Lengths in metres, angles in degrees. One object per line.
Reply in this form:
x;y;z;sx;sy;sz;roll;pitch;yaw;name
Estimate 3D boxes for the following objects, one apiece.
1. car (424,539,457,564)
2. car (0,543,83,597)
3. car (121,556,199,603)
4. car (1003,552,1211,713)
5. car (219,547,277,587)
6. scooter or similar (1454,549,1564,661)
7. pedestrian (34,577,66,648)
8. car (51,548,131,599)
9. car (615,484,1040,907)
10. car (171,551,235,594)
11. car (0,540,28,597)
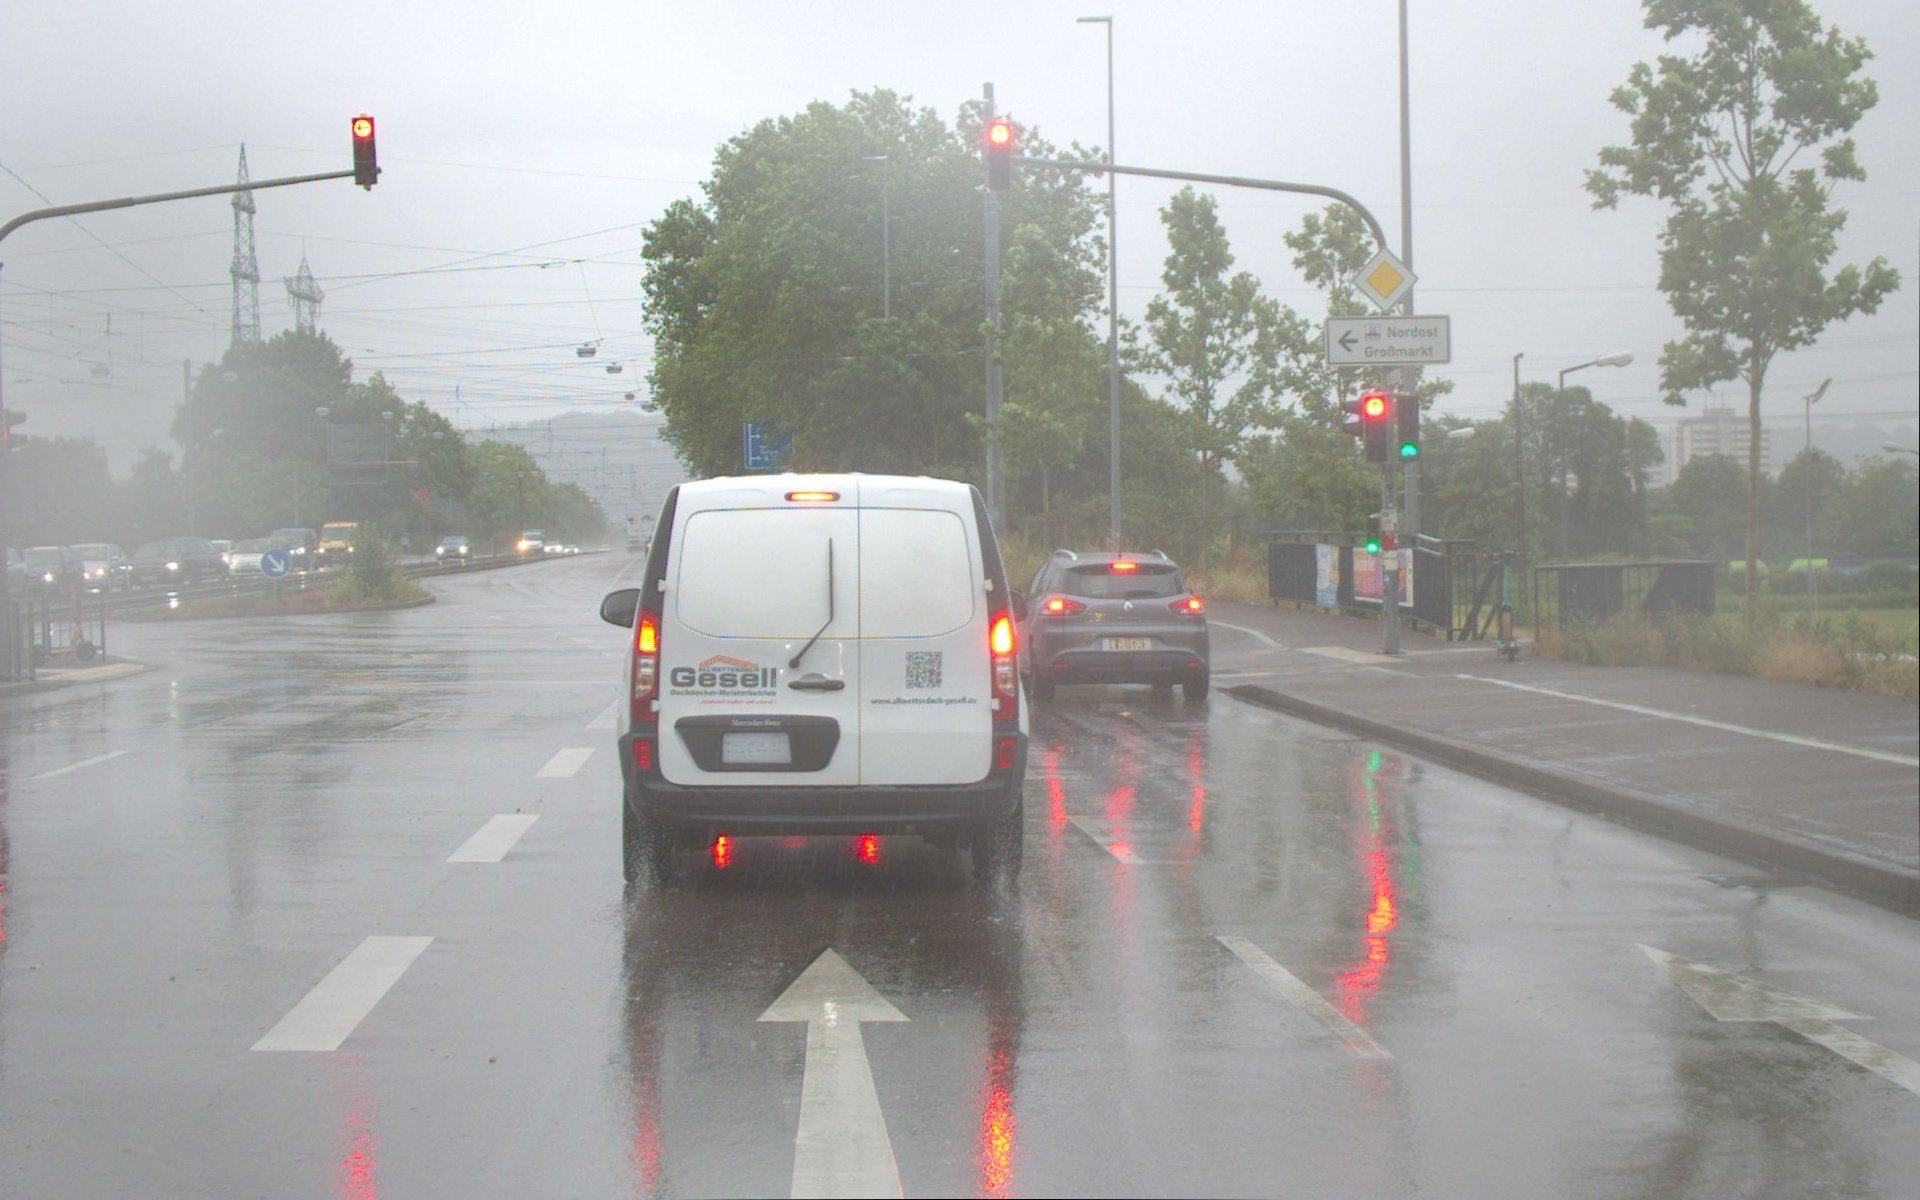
-31.126;-2.888;206.122;1.559;1.421;3.569;2;0;-2;car
-25.552;-0.825;95.505;1.559;1.421;3.569;2;0;-2;car
-25.413;-0.646;109.319;1.710;1.421;3.809;2;0;-2;car
1.411;0.290;34.404;1.684;1.503;3.921;1;0;-3;car
-27.207;-1.254;131.472;1.559;1.421;3.569;2;0;-2;car
6.184;0.028;38.854;0.690;1.207;3.020;-1;1;-1;scooter or similar
-11.652;0.159;44.017;0.315;0.894;0.380;2;1;-4;pedestrian
-25.763;-0.770;101.990;1.559;1.421;3.569;2;0;-2;car
-0.752;0.345;16.341;1.754;1.744;4.170;0;1;-6;car
-26.274;-0.952;119.408;1.559;1.421;3.569;2;0;-2;car
-25.203;-0.823;88.430;1.559;1.421;3.569;2;0;-2;car
